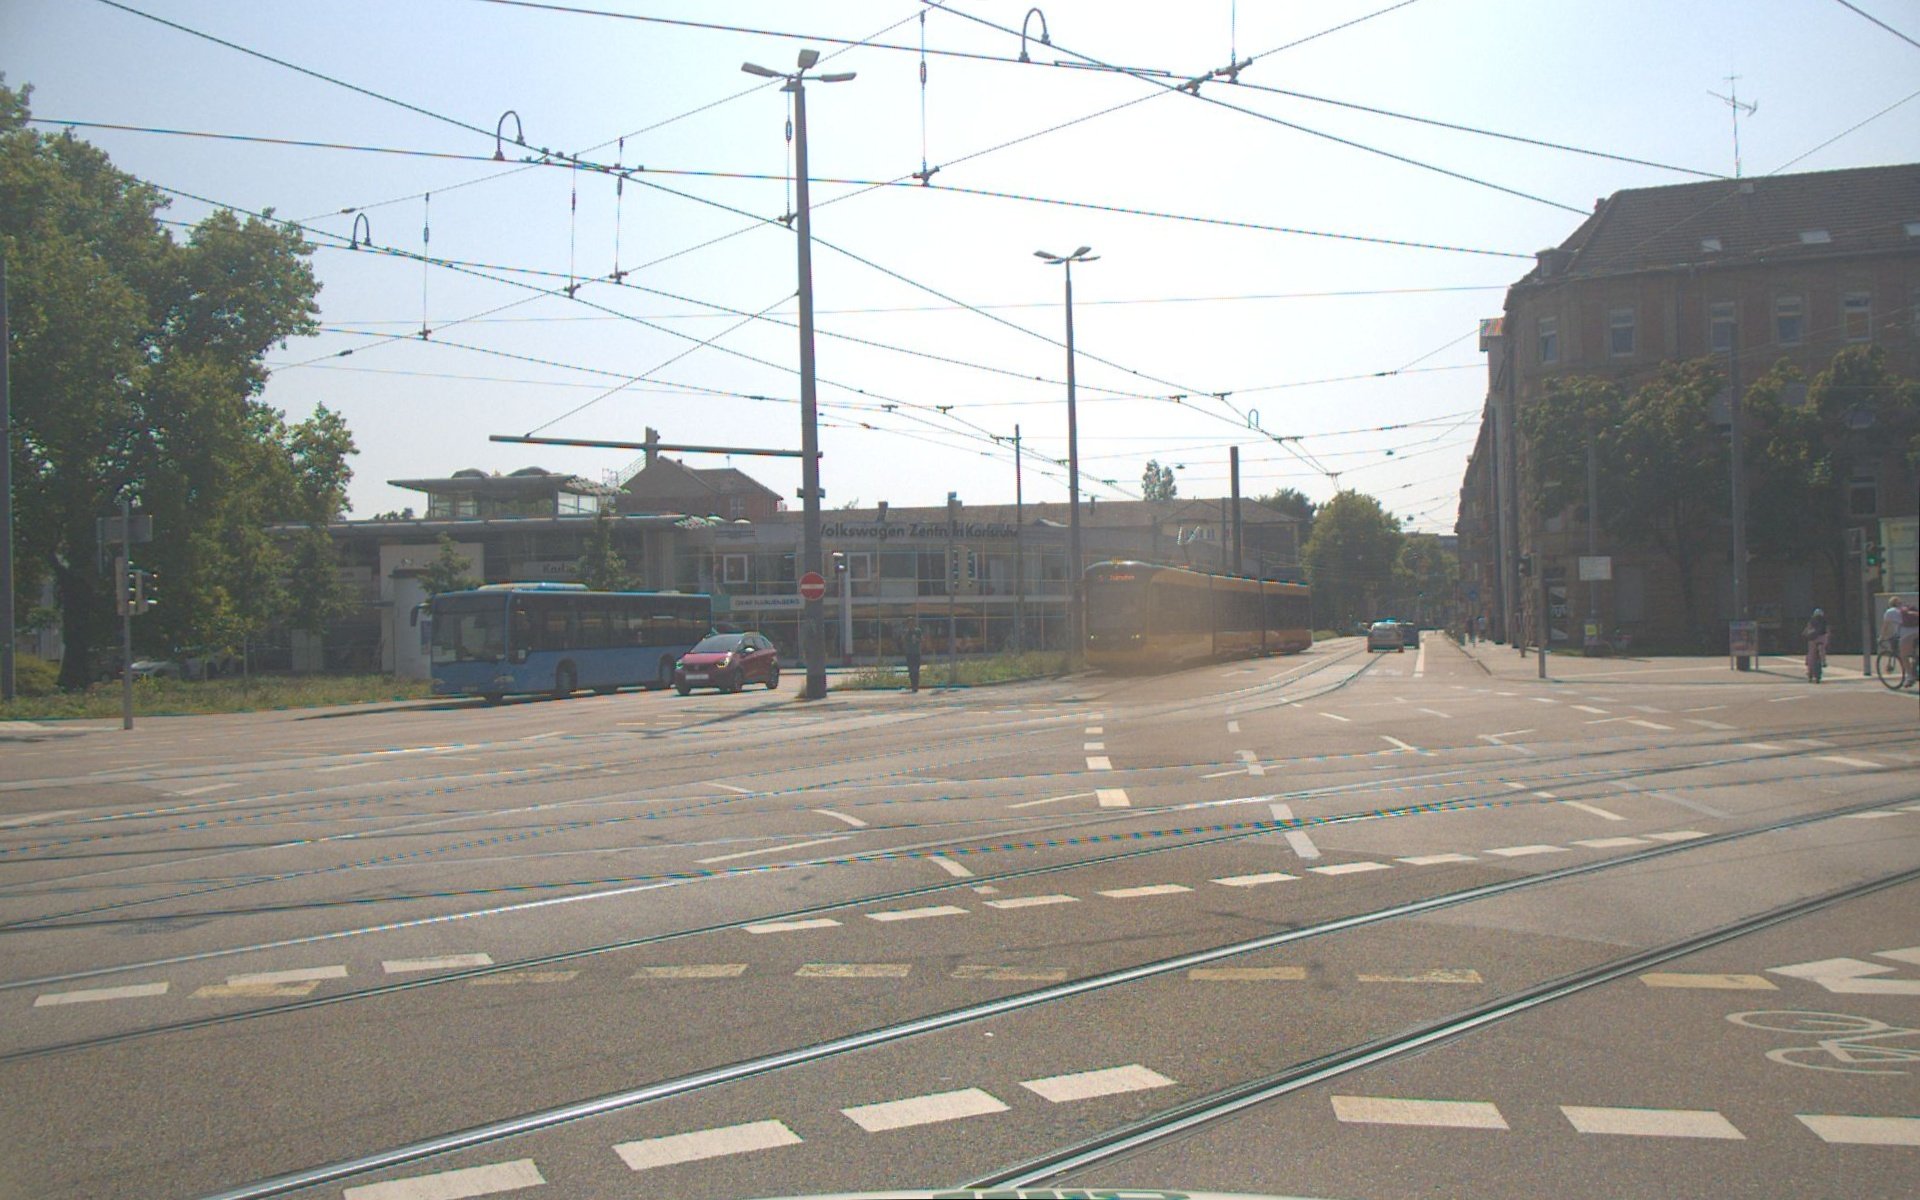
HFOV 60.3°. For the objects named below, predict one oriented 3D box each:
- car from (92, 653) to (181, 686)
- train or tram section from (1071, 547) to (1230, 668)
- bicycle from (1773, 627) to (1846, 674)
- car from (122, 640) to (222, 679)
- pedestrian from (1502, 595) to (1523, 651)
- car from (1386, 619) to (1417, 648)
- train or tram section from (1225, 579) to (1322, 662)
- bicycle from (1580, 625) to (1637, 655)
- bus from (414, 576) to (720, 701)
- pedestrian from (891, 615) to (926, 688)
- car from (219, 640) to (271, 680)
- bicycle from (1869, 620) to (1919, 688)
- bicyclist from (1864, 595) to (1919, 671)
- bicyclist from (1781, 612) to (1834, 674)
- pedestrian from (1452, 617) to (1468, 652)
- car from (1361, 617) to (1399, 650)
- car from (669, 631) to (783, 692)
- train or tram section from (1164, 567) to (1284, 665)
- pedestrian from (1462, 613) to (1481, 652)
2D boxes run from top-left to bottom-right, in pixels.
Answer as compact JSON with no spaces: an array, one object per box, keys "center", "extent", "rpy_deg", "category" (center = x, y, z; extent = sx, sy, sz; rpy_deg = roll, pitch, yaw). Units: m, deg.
[{"center":[-42.324,3.555,85.136],"extent":[1.951,1.534,4.003],"rpy_deg":[-2,-1,14],"category":"car"},{"center":[6.645,0.401,55.544],"extent":[2.533,3.623,12.217],"rpy_deg":[0,-2,20],"category":"train or tram section"},{"center":[19.081,1.120,37.202],"extent":[0.630,1.016,2.377],"rpy_deg":[-2,-1,7],"category":"bicycle"},{"center":[-39.259,2.970,82.494],"extent":[1.680,1.784,4.247],"rpy_deg":[-2,-1,34],"category":"car"},{"center":[20.765,0.866,62.200],"extent":[0.635,2.049,0.704],"rpy_deg":[-2,-1,13],"category":"pedestrian"},{"center":[24.646,1.863,92.398],"extent":[1.477,1.537,3.626],"rpy_deg":[-2,-1,13],"category":"car"},{"center":[15.026,1.082,78.475],"extent":[2.533,3.623,12.217],"rpy_deg":[0,-2,20],"category":"train or tram section"},{"center":[22.156,1.378,56.535],"extent":[1.744,0.974,0.462],"rpy_deg":[-2,-1,10],"category":"bicycle"},{"center":[-10.863,1.069,47.770],"extent":[2.668,3.118,12.087],"rpy_deg":[-2,-1,18],"category":"bus"},{"center":[-1.228,1.233,39.552],"extent":[0.786,1.717,0.719],"rpy_deg":[-1,-1,-1],"category":"pedestrian"},{"center":[-38.230,3.199,88.558],"extent":[2.293,2.049,6.764],"rpy_deg":[1,-2,-21],"category":"car"},{"center":[16.221,0.920,28.434],"extent":[0.430,1.131,1.644],"rpy_deg":[-2,-1,7],"category":"bicycle"},{"center":[15.981,0.567,28.320],"extent":[0.642,1.276,0.644],"rpy_deg":[-2,-1,7],"category":"bicyclist"},{"center":[19.075,0.963,37.248],"extent":[0.731,1.343,0.922],"rpy_deg":[-2,-1,7],"category":"bicyclist"},{"center":[29.444,2.034,97.458],"extent":[0.774,2.049,0.810],"rpy_deg":[0,-2,8],"category":"pedestrian"},{"center":[20.858,1.675,82.249],"extent":[1.695,1.602,3.615],"rpy_deg":[0,-2,12],"category":"car"},{"center":[-6.248,1.624,44.487],"extent":[1.590,1.498,3.774],"rpy_deg":[-2,-1,16],"category":"car"},{"center":[10.934,0.751,67.325],"extent":[2.533,3.623,12.217],"rpy_deg":[0,-2,20],"category":"train or tram section"},{"center":[26.438,1.684,85.519],"extent":[0.821,2.049,0.810],"rpy_deg":[0,-2,8],"category":"pedestrian"}]
